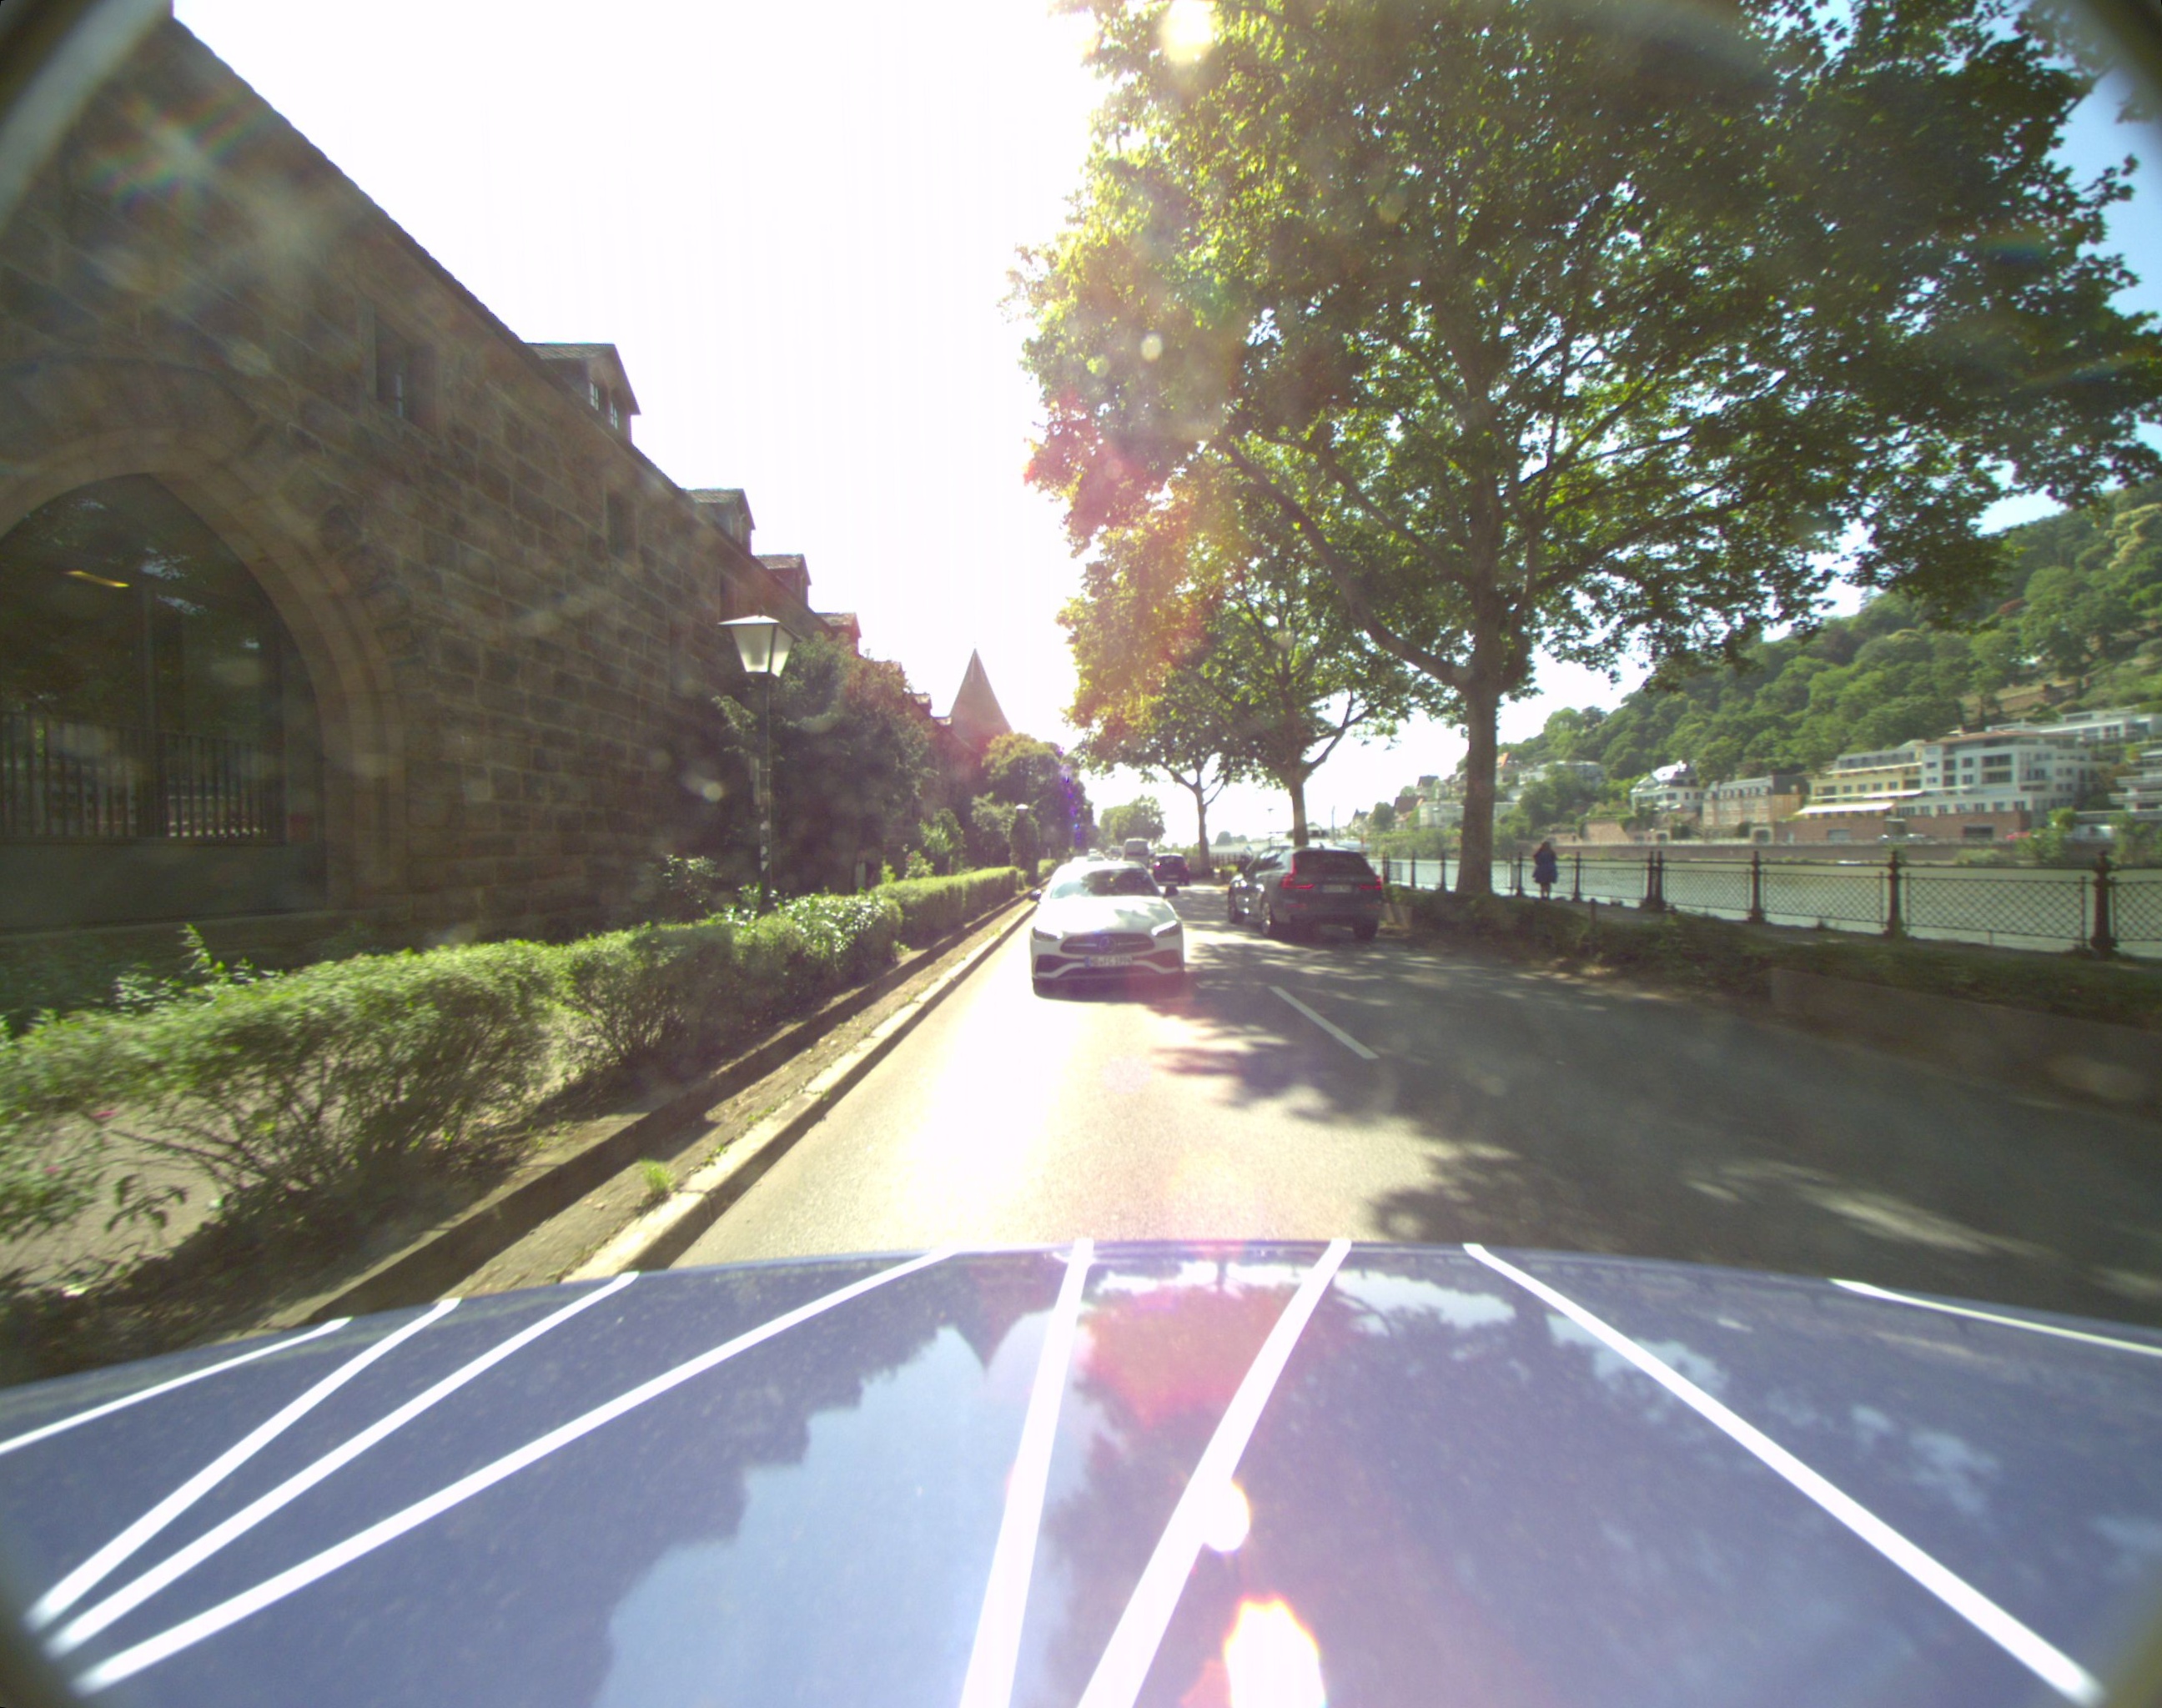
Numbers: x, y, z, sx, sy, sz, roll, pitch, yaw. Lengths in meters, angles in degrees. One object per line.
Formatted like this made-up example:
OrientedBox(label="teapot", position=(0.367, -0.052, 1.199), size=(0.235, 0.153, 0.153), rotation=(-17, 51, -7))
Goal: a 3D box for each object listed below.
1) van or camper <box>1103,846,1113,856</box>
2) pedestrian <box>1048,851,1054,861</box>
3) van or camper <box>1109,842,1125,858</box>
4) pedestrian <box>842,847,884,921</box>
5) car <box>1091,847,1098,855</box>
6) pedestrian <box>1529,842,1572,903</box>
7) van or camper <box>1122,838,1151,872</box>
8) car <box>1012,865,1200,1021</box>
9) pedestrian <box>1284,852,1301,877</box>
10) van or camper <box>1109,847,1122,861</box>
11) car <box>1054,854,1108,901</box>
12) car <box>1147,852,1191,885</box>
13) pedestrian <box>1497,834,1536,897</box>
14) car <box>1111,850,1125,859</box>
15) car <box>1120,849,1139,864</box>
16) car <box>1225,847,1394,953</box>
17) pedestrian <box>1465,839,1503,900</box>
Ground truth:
OrientedBox(label="van or camper", position=(5.736, -0.662, 162.200), size=(1.923, 1.976, 3.999), rotation=(0, 1, 0))
OrientedBox(label="pedestrian", position=(-3.778, 0.217, 94.735), size=(0.632, 1.186, 0.747), rotation=(-3, 1, 3))
OrientedBox(label="van or camper", position=(6.072, -0.698, 128.178), size=(2.328, 2.647, 6.264), rotation=(1, 1, 1))
OrientedBox(label="pedestrian", position=(-4.880, 0.655, 17.027), size=(0.700, 1.643, 0.705), rotation=(0, 1, 3))
OrientedBox(label="car", position=(3.610, -0.852, 201.989), size=(1.923, 1.976, 3.999), rotation=(0, 1, 0))
OrientedBox(label="pedestrian", position=(12.476, 0.483, 20.193), size=(0.705, 1.594, 0.705), rotation=(-1, 1, 3))
OrientedBox(label="van or camper", position=(4.308, 0.037, 59.893), size=(1.965, 2.552, 5.840), rotation=(1, 1, 1))
OrientedBox(label="car", position=(0.278, 0.924, 9.774), size=(1.829, 1.418, 4.358), rotation=(-2, 0, 1))
OrientedBox(label="pedestrian", position=(10.975, 0.535, 39.490), size=(0.704, 1.300, 0.656), rotation=(0, 1, 1))
OrientedBox(label="van or camper", position=(6.550, -0.058, 144.857), size=(2.328, 2.647, 6.264), rotation=(1, 1, 1))
OrientedBox(label="car", position=(0.041, 0.792, 27.654), size=(1.854, 1.543, 3.848), rotation=(0, 0, 1))
OrientedBox(label="car", position=(4.075, 0.636, 35.744), size=(1.653, 1.460, 3.779), rotation=(0, 1, 0))
OrientedBox(label="pedestrian", position=(12.631, 0.329, 22.073), size=(0.705, 1.787, 0.705), rotation=(-2, 1, 3))
OrientedBox(label="car", position=(5.367, 0.052, 110.476), size=(1.703, 1.204, 3.484), rotation=(6, 1, -3))
OrientedBox(label="car", position=(5.049, 0.254, 79.658), size=(1.774, 1.448, 4.533), rotation=(0, 1, 0))
OrientedBox(label="car", position=(4.085, 0.726, 14.381), size=(1.881, 1.688, 4.258), rotation=(1, 1, 0))
OrientedBox(label="pedestrian", position=(11.548, 0.427, 21.780), size=(0.705, 1.721, 0.705), rotation=(-1, 1, 3))
